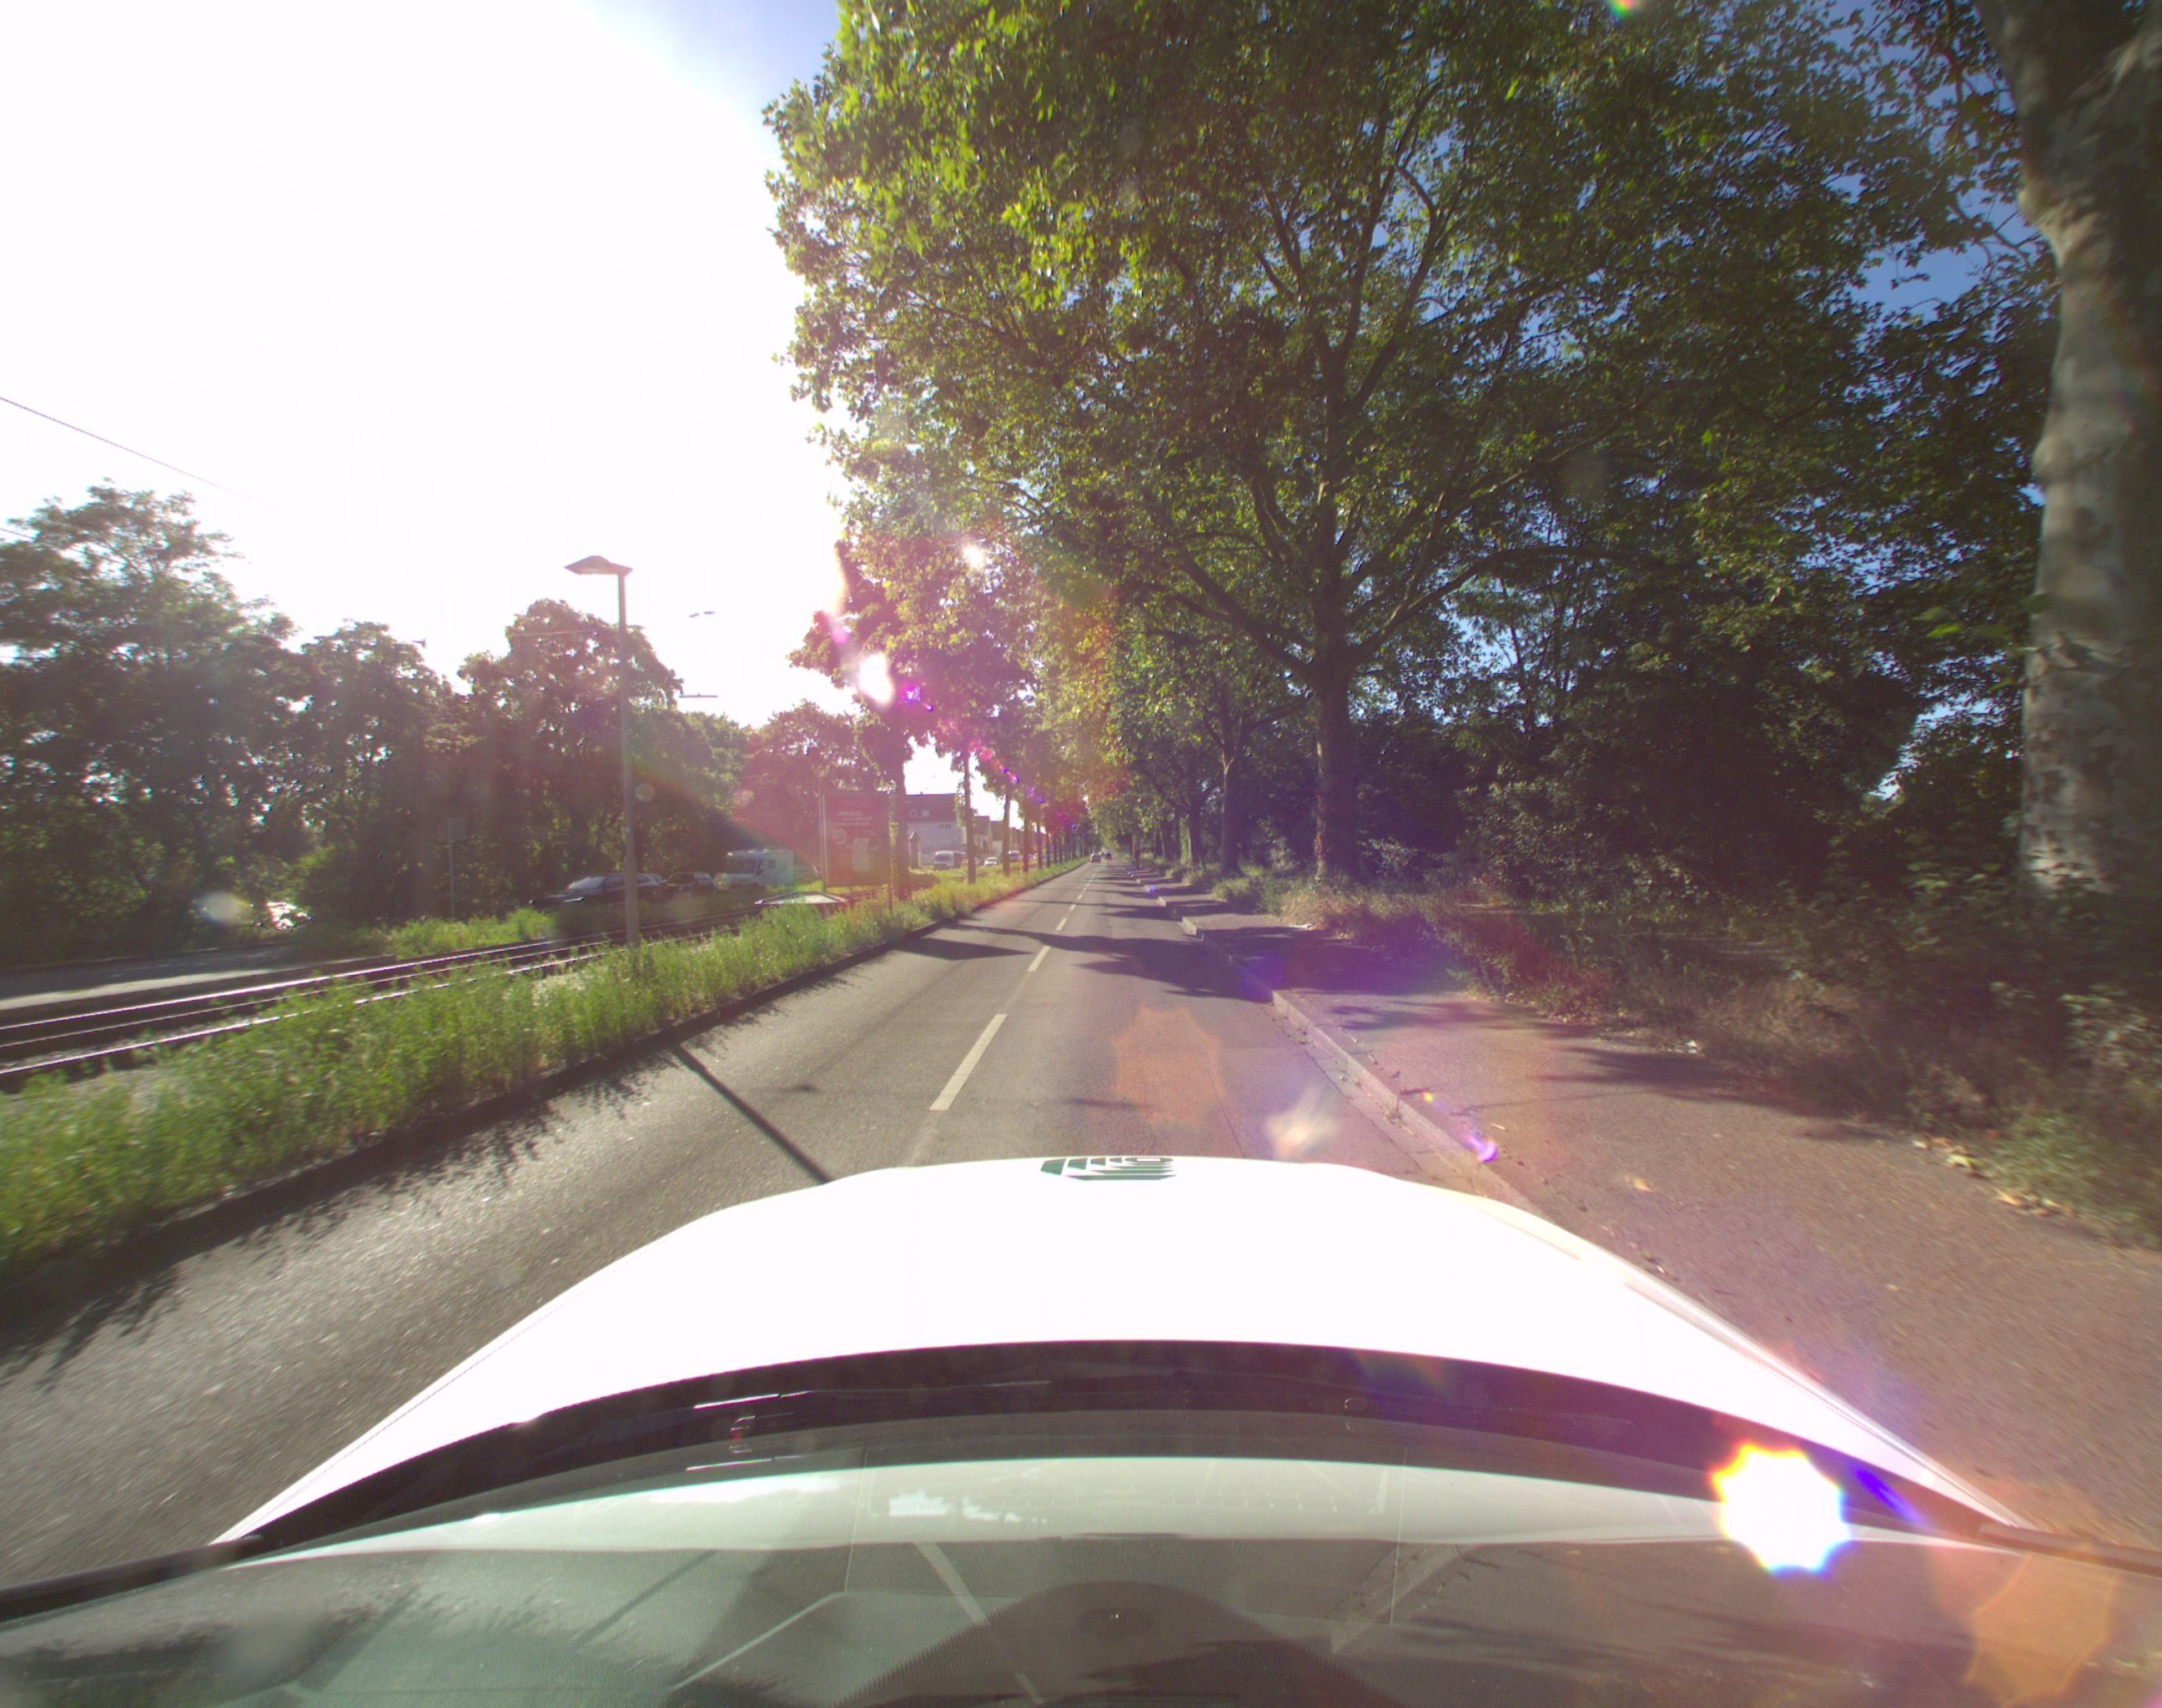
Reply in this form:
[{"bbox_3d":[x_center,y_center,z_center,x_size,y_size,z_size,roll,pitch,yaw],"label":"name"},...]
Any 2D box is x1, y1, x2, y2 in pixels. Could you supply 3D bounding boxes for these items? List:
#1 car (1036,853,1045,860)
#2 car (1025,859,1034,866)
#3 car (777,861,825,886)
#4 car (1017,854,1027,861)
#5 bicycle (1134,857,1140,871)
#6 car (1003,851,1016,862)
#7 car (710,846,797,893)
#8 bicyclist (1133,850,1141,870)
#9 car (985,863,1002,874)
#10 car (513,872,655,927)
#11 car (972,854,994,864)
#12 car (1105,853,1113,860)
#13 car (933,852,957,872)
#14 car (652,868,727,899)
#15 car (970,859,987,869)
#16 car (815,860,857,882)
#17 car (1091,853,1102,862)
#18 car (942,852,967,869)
[{"bbox_3d":[-9.396,0.637,190.075,1.804,1.744,4.984,0,-1,2],"label":"car"},{"bbox_3d":[-10.613,1.768,168.293,1.551,1.395,3.821,0,-1,1],"label":"car"},{"bbox_3d":[-19.135,1.328,55.771,1.616,1.622,4.534,0,-1,2],"label":"car"},{"bbox_3d":[-14.936,0.874,204.872,1.985,1.581,4.501,0,0,2],"label":"car"},{"bbox_3d":[4.836,0.838,70.173,0.438,1.153,1.824,-2,0,2],"label":"bicycle"},{"bbox_3d":[-16.228,0.519,185.048,1.986,2.459,6.676,0,-1,1],"label":"car"},{"bbox_3d":[-19.276,0.820,48.374,2.217,2.580,6.802,0,0,2],"label":"car"},{"bbox_3d":[4.821,0.510,70.117,0.611,1.628,0.910,-2,0,1],"label":"bicyclist"},{"bbox_3d":[-12.254,2.001,114.589,1.720,1.528,4.445,0,-1,2],"label":"car"},{"bbox_3d":[-16.462,1.449,27.305,1.630,1.495,4.596,-4,-1,3],"label":"car"},{"bbox_3d":[-20.651,1.115,171.646,4.616,1.945,1.994,-1,0,-9],"label":"car"},{"bbox_3d":[6.355,0.509,185.122,1.754,1.513,3.279,0,-1,2],"label":"car"},{"bbox_3d":[-17.645,1.010,105.760,1.994,2.496,6.138,0,-1,1],"label":"car"},{"bbox_3d":[-19.813,1.473,41.421,1.703,1.434,4.003,0,-1,3],"label":"car"},{"bbox_3d":[-15.946,1.529,126.818,1.816,1.607,4.776,0,0,2],"label":"car"},{"bbox_3d":[-18.572,1.281,61.917,1.667,1.584,4.252,0,-1,4],"label":"car"},{"bbox_3d":[2.545,0.588,133.866,1.732,1.401,3.278,0,-1,2],"label":"car"},{"bbox_3d":[-17.575,0.922,113.357,2.174,2.376,6.467,0,-1,2],"label":"car"}]
